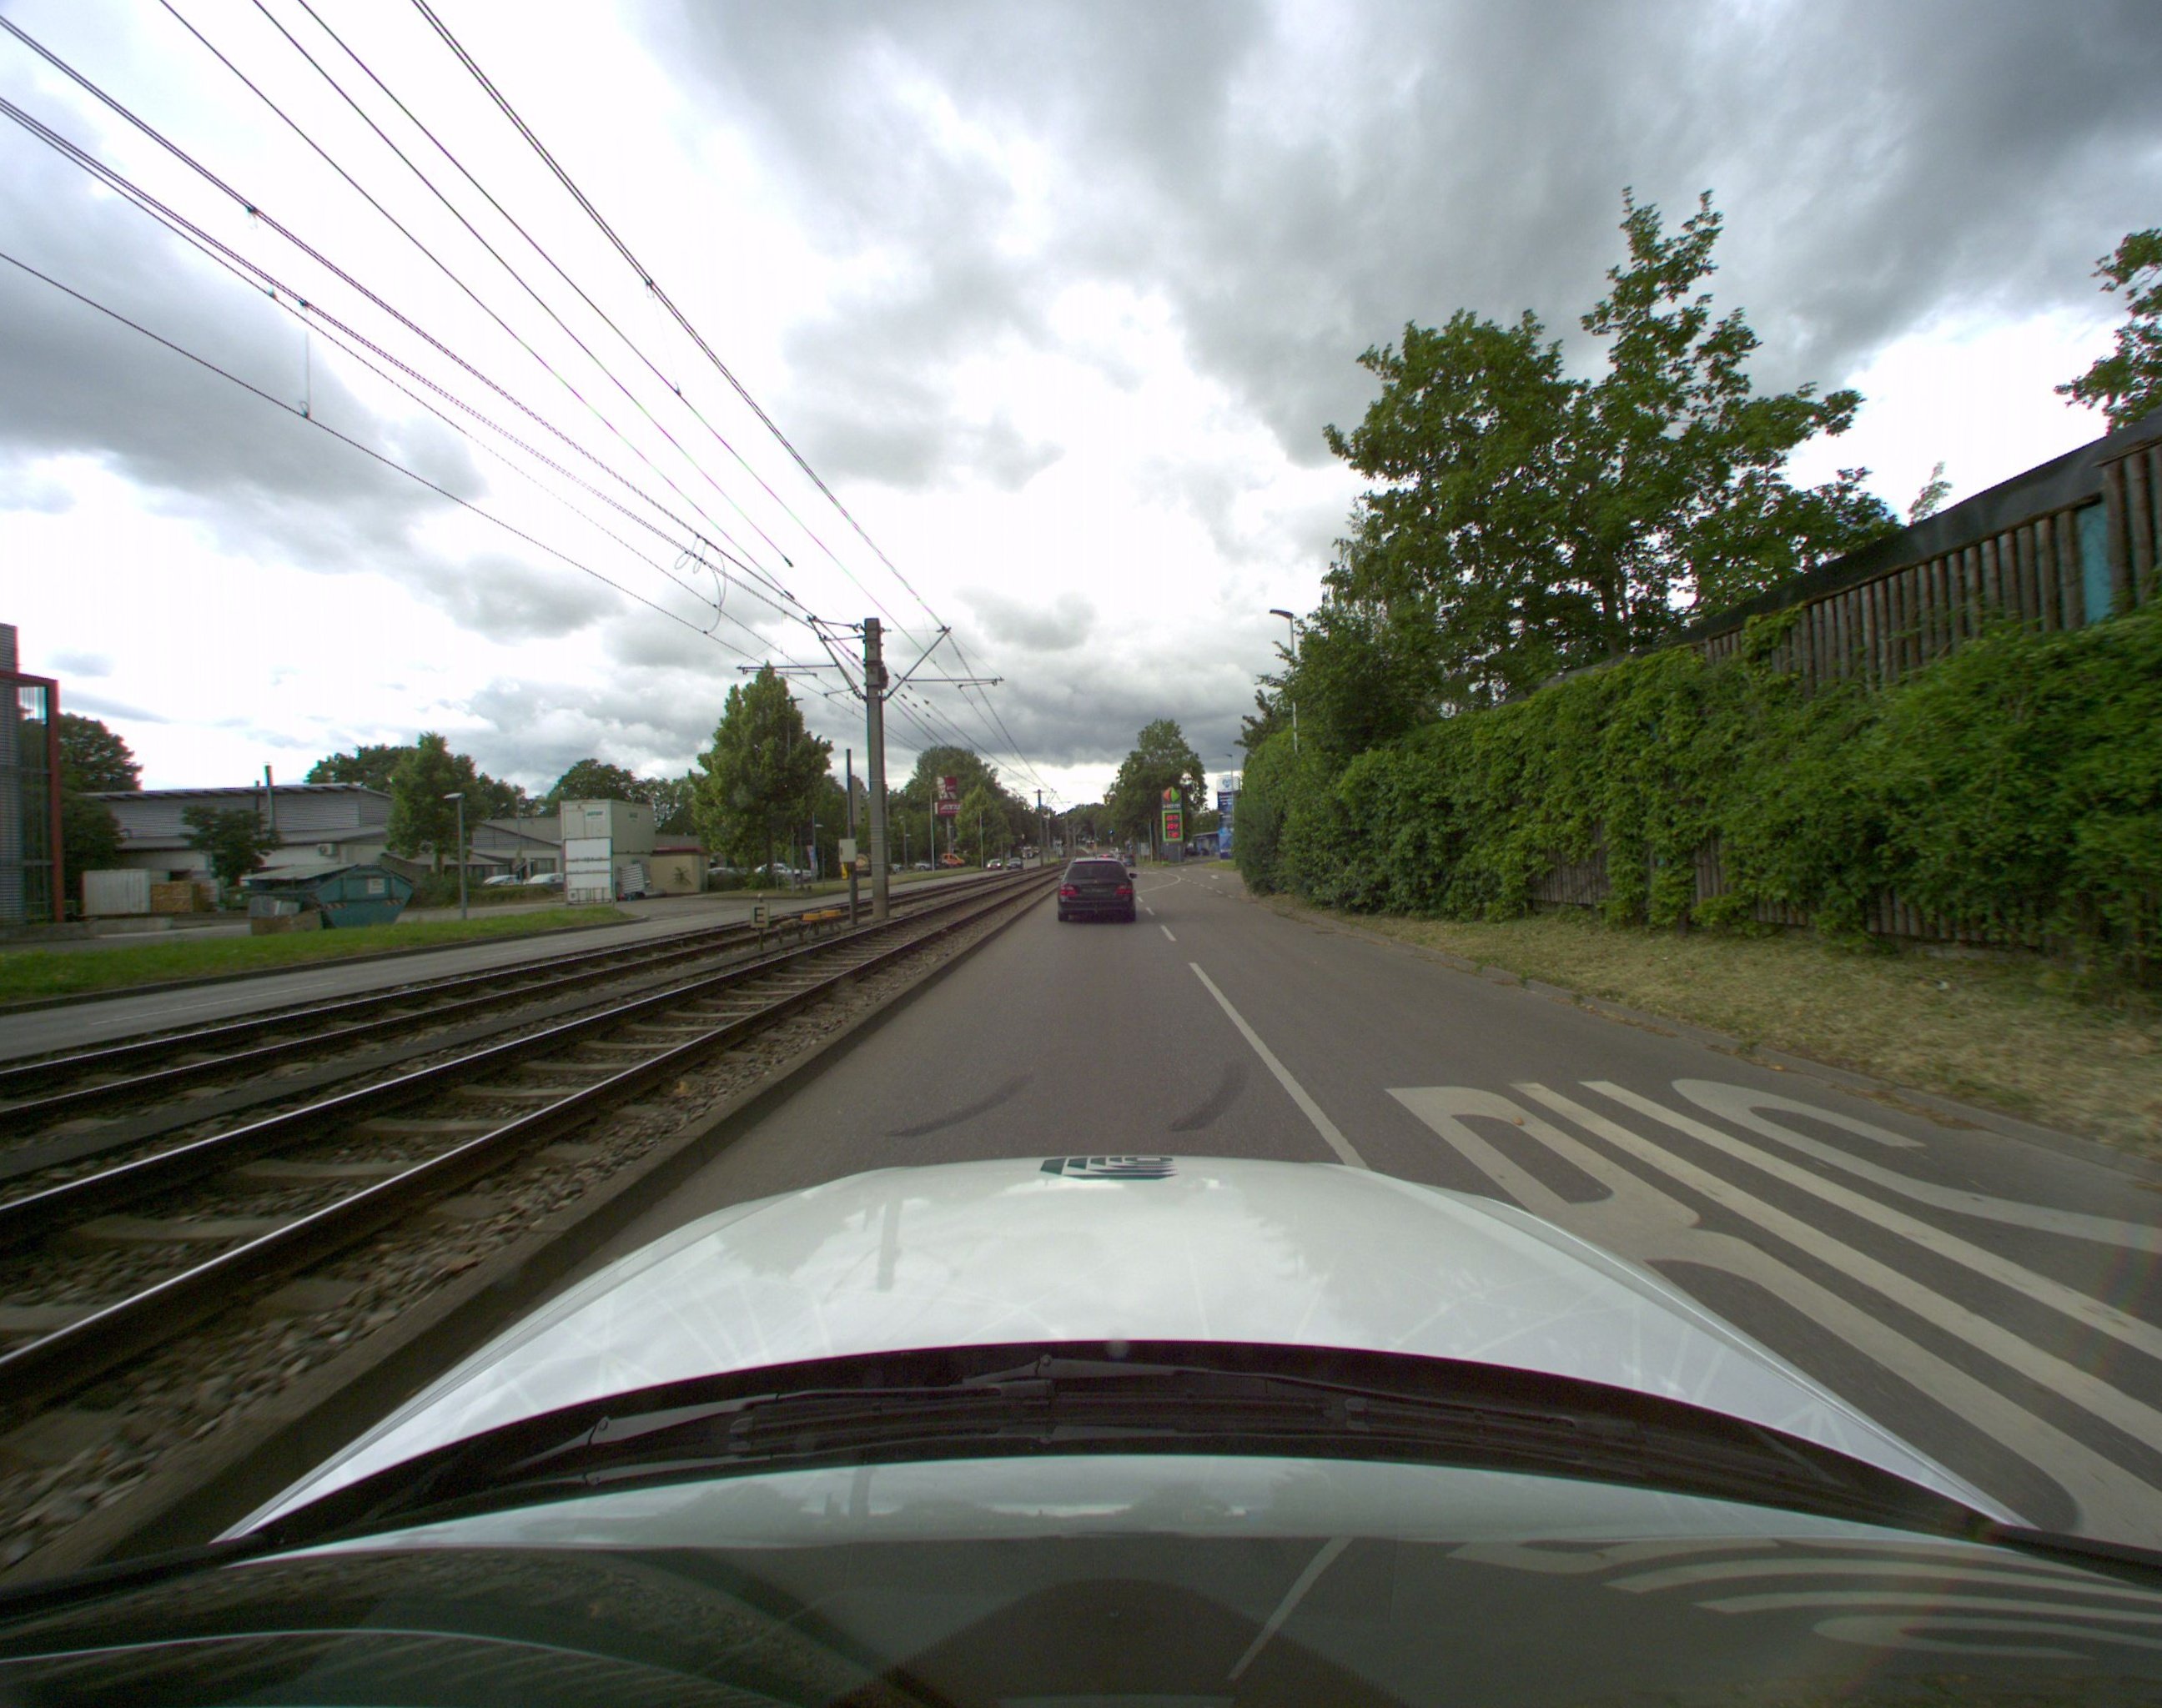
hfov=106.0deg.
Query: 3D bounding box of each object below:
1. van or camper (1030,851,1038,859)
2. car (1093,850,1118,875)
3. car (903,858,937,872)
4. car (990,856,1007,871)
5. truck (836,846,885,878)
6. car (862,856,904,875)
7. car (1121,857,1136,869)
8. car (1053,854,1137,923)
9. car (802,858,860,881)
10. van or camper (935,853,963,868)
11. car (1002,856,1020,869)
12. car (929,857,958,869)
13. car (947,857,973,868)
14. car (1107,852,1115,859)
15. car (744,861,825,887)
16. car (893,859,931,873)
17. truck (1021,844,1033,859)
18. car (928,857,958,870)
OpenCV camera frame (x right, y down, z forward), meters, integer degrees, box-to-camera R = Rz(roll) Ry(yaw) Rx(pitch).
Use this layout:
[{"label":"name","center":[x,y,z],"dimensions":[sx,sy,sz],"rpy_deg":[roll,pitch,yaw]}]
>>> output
[{"label":"van or camper","center":[-14.439,0.284,250.306],"dimensions":[1.987,2.354,5.764],"rpy_deg":[-3,0,0]},{"label":"car","center":[1.790,0.635,60.423],"dimensions":[1.774,1.750,3.719],"rpy_deg":[0,-1,1]},{"label":"car","center":[-20.660,1.439,104.536],"dimensions":[3.978,1.635,1.876],"rpy_deg":[-3,0,-4]},{"label":"car","center":[-10.557,1.187,104.629],"dimensions":[1.786,1.772,3.999],"rpy_deg":[-2,0,0]},{"label":"truck","center":[-20.925,0.759,77.405],"dimensions":[3.976,2.821,2.375],"rpy_deg":[-3,0,-2]},{"label":"car","center":[-21.162,1.240,87.037],"dimensions":[3.978,1.797,1.876],"rpy_deg":[-3,0,-4]},{"label":"car","center":[5.392,1.038,93.200],"dimensions":[1.565,1.414,3.355],"rpy_deg":[0,-1,1]},{"label":"car","center":[0.355,0.747,19.530],"dimensions":[1.802,1.474,3.882],"rpy_deg":[-1,0,1]},{"label":"car","center":[-21.013,1.304,68.538],"dimensions":[4.208,1.727,1.995],"rpy_deg":[-3,0,-1]},{"label":"van or camper","center":[-20.533,0.988,126.798],"dimensions":[3.978,2.135,1.876],"rpy_deg":[-1,0,-3]},{"label":"car","center":[-8.526,1.047,99.478],"dimensions":[1.753,1.401,4.443],"rpy_deg":[-5,0,1]},{"label":"car","center":[-20.629,1.318,122.079],"dimensions":[3.978,1.797,1.876],"rpy_deg":[-1,0,-3]},{"label":"car","center":[-20.166,1.424,135.520],"dimensions":[3.978,1.599,1.794],"rpy_deg":[-3,0,-4]},{"label":"car","center":[7.942,0.477,217.997],"dimensions":[1.986,1.838,4.001],"rpy_deg":[-1,0,1]},{"label":"car","center":[-21.428,1.446,59.026],"dimensions":[4.763,1.628,2.653],"rpy_deg":[-2,1,2]},{"label":"car","center":[-20.886,1.465,100.765],"dimensions":[4.294,1.472,1.680],"rpy_deg":[-2,0,-1]},{"label":"truck","center":[-14.372,-0.590,216.964],"dimensions":[2.699,3.663,11.105],"rpy_deg":[-3,0,-1]},{"label":"car","center":[-19.769,1.365,117.015],"dimensions":[3.978,1.599,1.876],"rpy_deg":[-3,0,-4]}]
